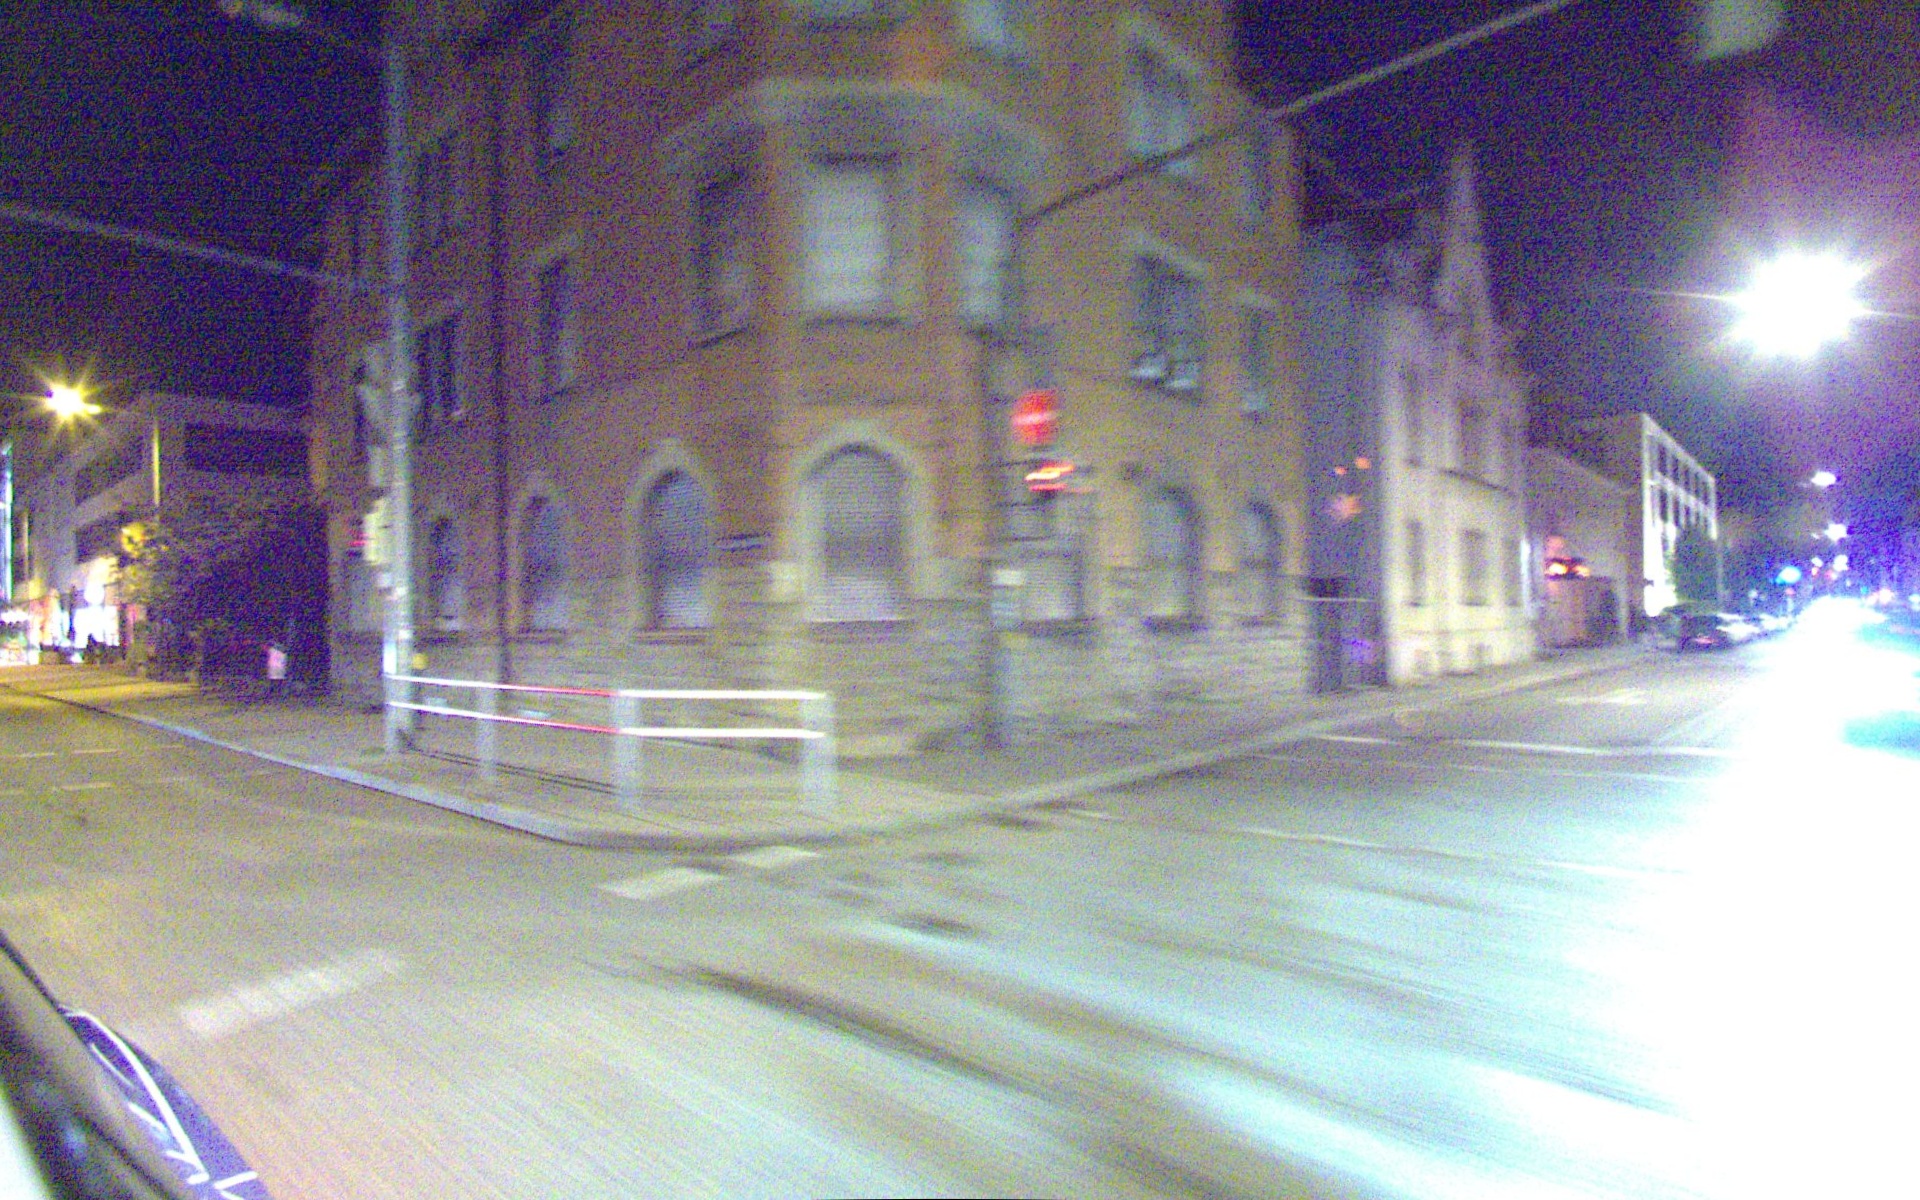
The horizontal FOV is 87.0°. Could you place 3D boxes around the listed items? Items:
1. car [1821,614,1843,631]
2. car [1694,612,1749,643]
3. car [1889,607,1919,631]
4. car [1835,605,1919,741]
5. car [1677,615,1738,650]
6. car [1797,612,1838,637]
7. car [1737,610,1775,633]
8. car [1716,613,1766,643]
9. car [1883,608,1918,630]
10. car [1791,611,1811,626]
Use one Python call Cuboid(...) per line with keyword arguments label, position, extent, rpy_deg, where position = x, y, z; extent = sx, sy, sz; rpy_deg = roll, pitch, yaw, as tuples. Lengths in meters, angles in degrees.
Cuboid(label="car", position=(98.957, 2.532, 114.881), extent=(1.715, 1.718, 3.804), rpy_deg=(-2, 0, 39))
Cuboid(label="car", position=(36.304, 1.295, 48.221), extent=(1.766, 1.439, 3.945), rpy_deg=(-3, -2, 41))
Cuboid(label="car", position=(70.363, 1.419, 75.085), extent=(2.000, 1.697, 3.943), rpy_deg=(-3, -3, 43))
Cuboid(label="car", position=(11.782, 0.791, 12.116), extent=(1.915, 1.429, 4.577), rpy_deg=(-2, -2, 41))
Cuboid(label="car", position=(31.721, 1.365, 42.900), extent=(1.872, 1.390, 3.947), rpy_deg=(-2, -2, 39))
Cuboid(label="car", position=(50.898, 1.434, 60.071), extent=(1.766, 1.439, 3.945), rpy_deg=(-3, -2, 41))
Cuboid(label="car", position=(52.108, 1.433, 66.220), extent=(1.766, 1.439, 3.945), rpy_deg=(-3, -2, 41))
Cuboid(label="car", position=(39.907, 1.411, 51.671), extent=(1.766, 1.439, 3.945), rpy_deg=(-3, -2, 41))
Cuboid(label="car", position=(77.535, 1.556, 83.456), extent=(2.000, 1.697, 3.943), rpy_deg=(-3, -2, 43))
Cuboid(label="car", position=(105.205, 2.343, 126.581), extent=(1.819, 1.674, 3.948), rpy_deg=(-2, 0, 39))
